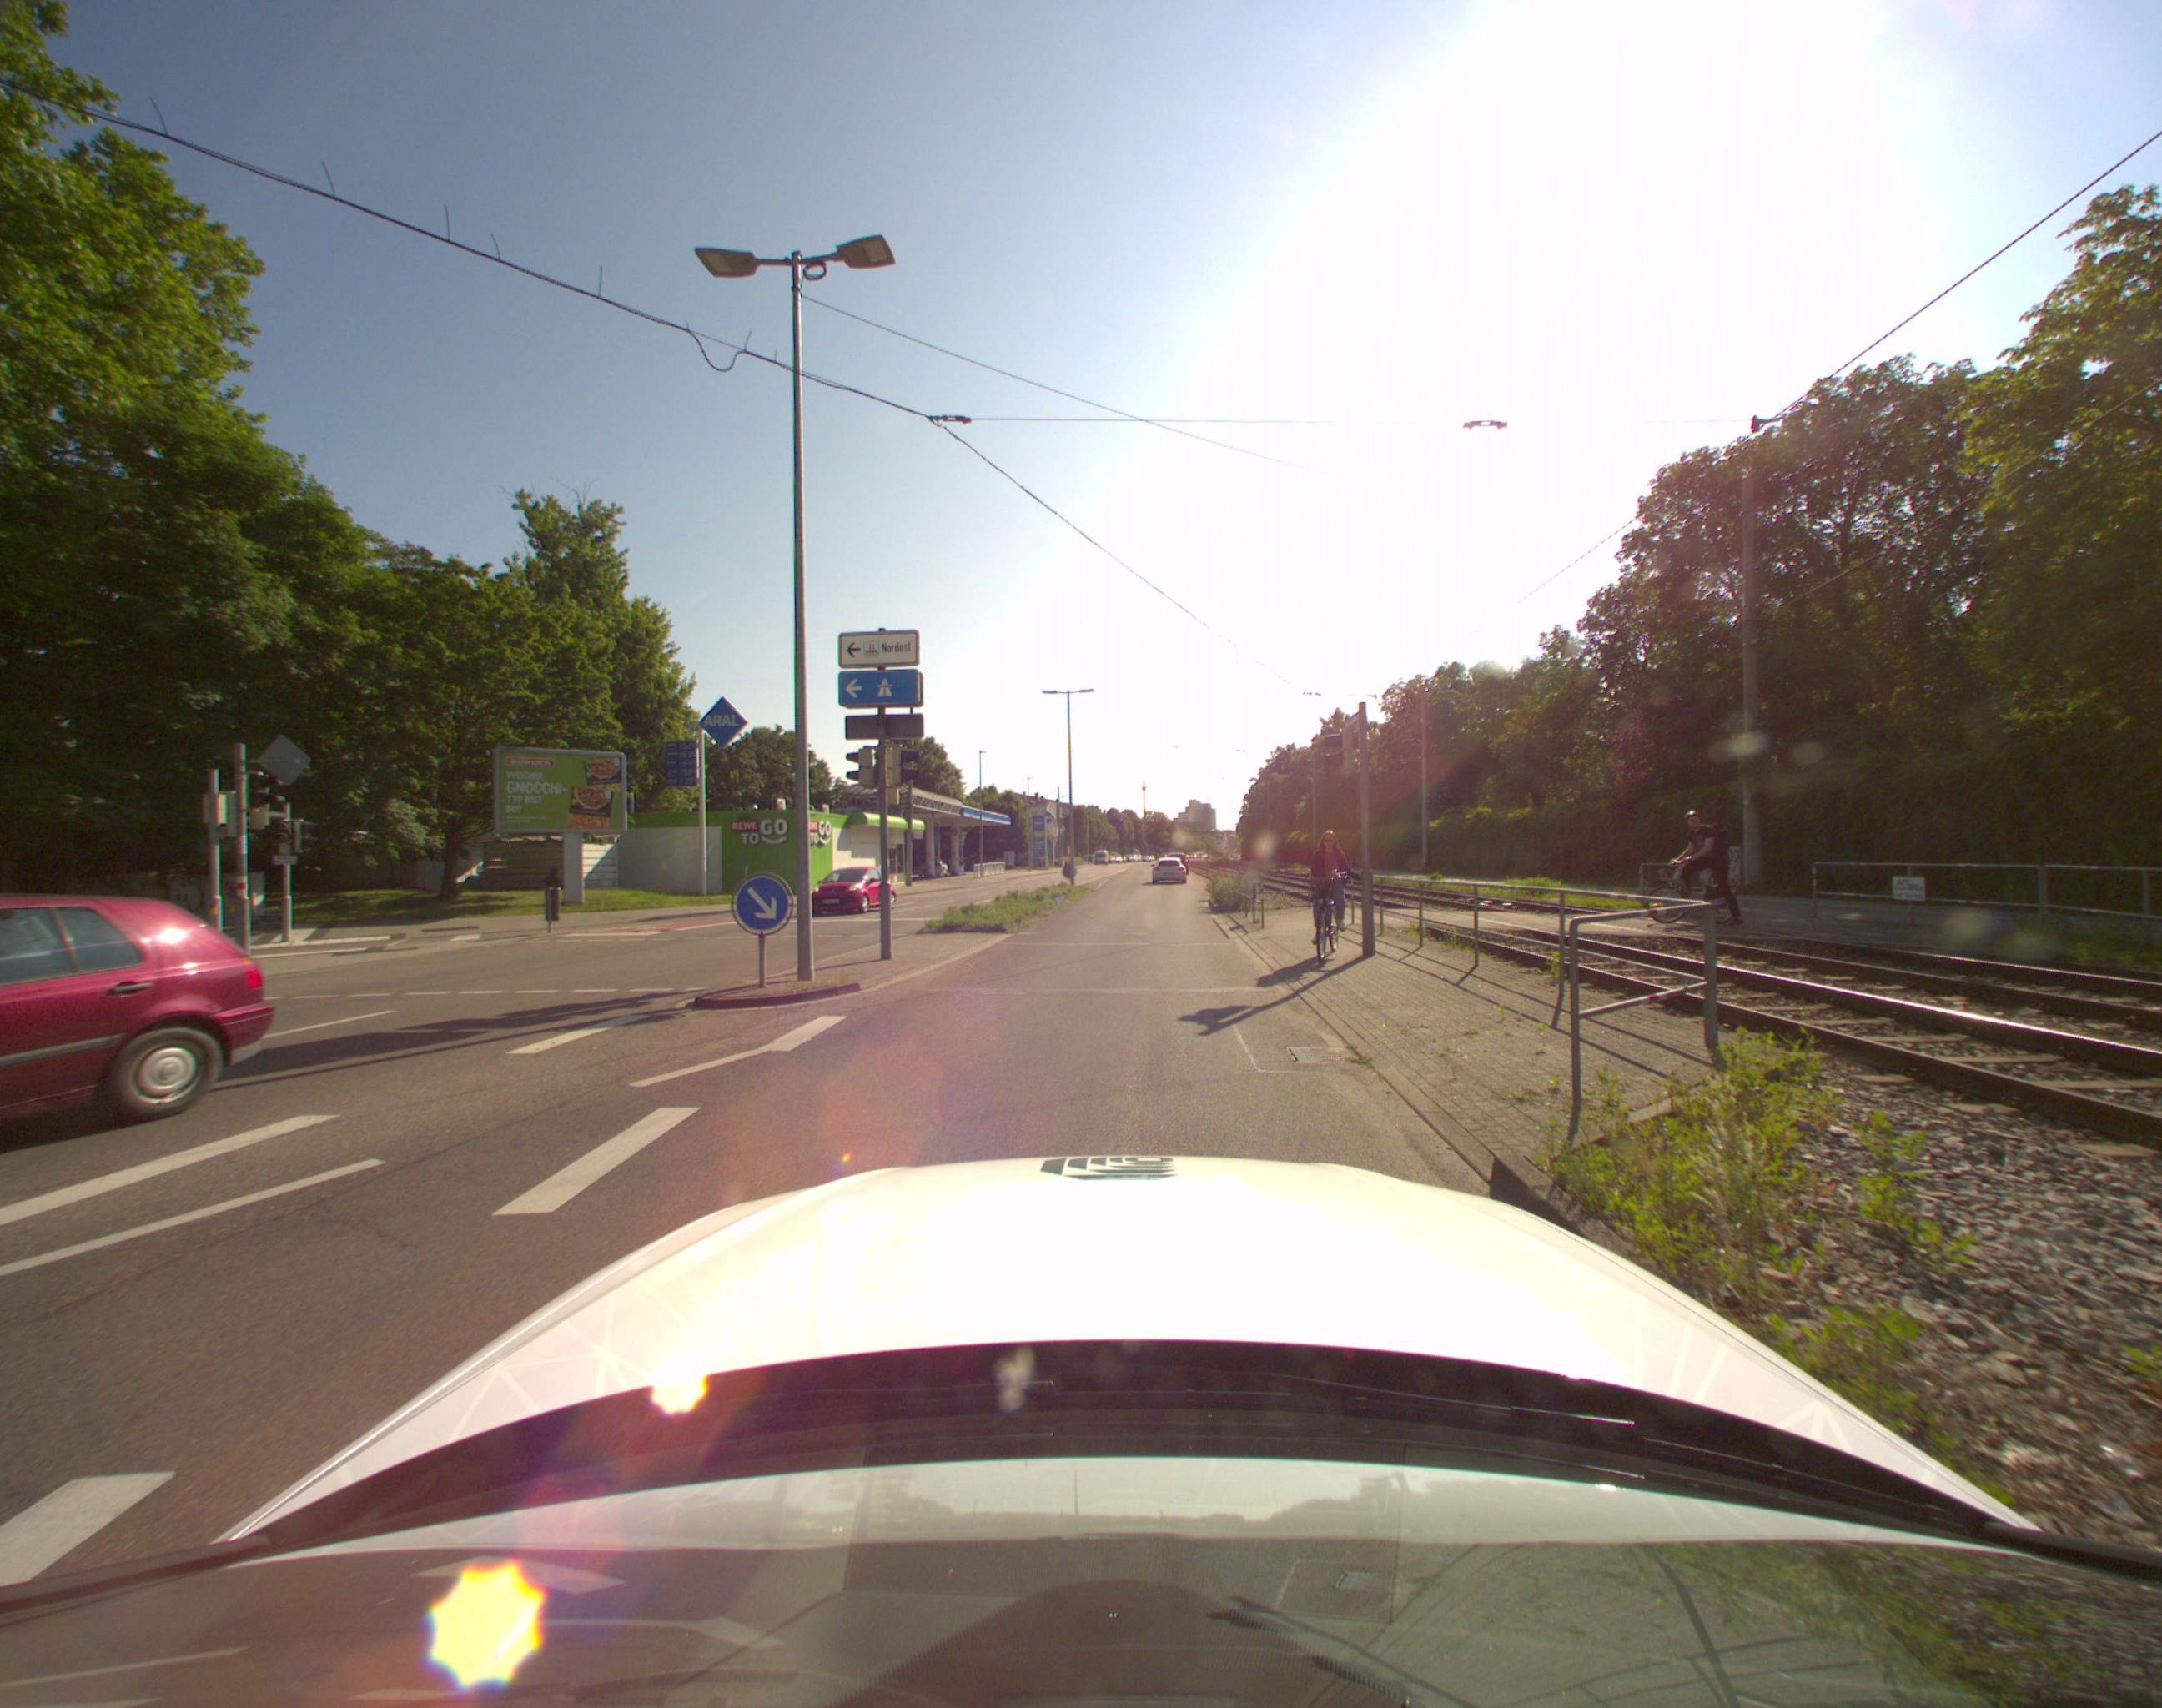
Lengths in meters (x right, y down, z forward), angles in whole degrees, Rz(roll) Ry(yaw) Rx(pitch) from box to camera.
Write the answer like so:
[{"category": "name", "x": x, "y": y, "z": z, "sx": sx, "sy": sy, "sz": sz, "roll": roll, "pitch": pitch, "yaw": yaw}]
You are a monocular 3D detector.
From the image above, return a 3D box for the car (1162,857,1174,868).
[{"category": "car", "x": 12.500, "y": 1.203, "z": 117.318, "sx": 1.740, "sy": 1.485, "sz": 3.606, "roll": 1, "pitch": 0, "yaw": 5}]

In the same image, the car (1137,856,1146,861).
[{"category": "car", "x": 15.834, "y": 1.153, "z": 211.805, "sx": 1.982, "sy": 1.416, "sz": 3.852, "roll": -2, "pitch": 0, "yaw": 8}]

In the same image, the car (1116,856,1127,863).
[{"category": "car", "x": 8.941, "y": 1.290, "z": 179.071, "sx": 1.982, "sy": 1.416, "sz": 3.852, "roll": -2, "pitch": 0, "yaw": 8}]

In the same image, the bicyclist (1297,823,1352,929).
[{"category": "bicyclist", "x": 3.463, "y": 0.297, "z": 11.538, "sx": 0.638, "sy": 1.416, "sz": 1.018, "roll": -1, "pitch": 0, "yaw": 21}]

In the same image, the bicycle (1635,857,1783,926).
[{"category": "bicycle", "x": 10.856, "y": 0.626, "z": 14.180, "sx": 1.902, "sy": 1.115, "sz": 0.953, "roll": -1, "pitch": 0, "yaw": 29}]

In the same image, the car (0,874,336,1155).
[{"category": "car", "x": -6.407, "y": 0.862, "z": 3.890, "sx": 1.645, "sy": 1.395, "sz": 4.140, "roll": -1, "pitch": 0, "yaw": 5}]

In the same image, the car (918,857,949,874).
[{"category": "car", "x": -13.298, "y": 1.000, "z": 73.723, "sx": 1.736, "sy": 1.393, "sz": 4.126, "roll": -2, "pitch": 0, "yaw": 4}]

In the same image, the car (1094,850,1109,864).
[{"category": "car", "x": 3.581, "y": 0.467, "z": 141.621, "sx": 1.982, "sy": 2.376, "sz": 4.549, "roll": -2, "pitch": 0, "yaw": 9}]

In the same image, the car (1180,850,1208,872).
[{"category": "car", "x": 8.596, "y": 0.528, "z": 62.082, "sx": 1.718, "sy": 1.593, "sz": 3.602, "roll": 1, "pitch": 0, "yaw": 1}]

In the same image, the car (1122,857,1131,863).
[{"category": "car", "x": 10.674, "y": 1.349, "z": 190.835, "sx": 1.982, "sy": 1.416, "sz": 3.852, "roll": -2, "pitch": 0, "yaw": 8}]

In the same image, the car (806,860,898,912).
[{"category": "car", "x": -6.932, "y": 0.941, "z": 24.990, "sx": 1.566, "sy": 1.417, "sz": 3.339, "roll": -1, "pitch": 0, "yaw": 6}]

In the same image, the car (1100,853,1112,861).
[{"category": "car", "x": 4.856, "y": 0.617, "z": 156.723, "sx": 1.982, "sy": 1.416, "sz": 3.852, "roll": -2, "pitch": 0, "yaw": 8}]

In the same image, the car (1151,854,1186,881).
[{"category": "car", "x": 4.721, "y": 0.713, "z": 44.094, "sx": 1.772, "sy": 1.356, "sz": 3.606, "roll": 1, "pitch": 0, "yaw": 5}]

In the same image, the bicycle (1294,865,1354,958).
[{"category": "bicycle", "x": 3.471, "y": 0.763, "z": 11.521, "sx": 0.638, "sy": 1.154, "sz": 1.947, "roll": -1, "pitch": 0, "yaw": 21}]

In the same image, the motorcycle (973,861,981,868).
[{"category": "motorcycle", "x": -13.706, "y": 1.400, "z": 107.083, "sx": 0.667, "sy": 0.901, "sz": 1.674, "roll": -2, "pitch": 0, "yaw": 6}]

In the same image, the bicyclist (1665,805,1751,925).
[{"category": "bicyclist", "x": 10.870, "y": 0.190, "z": 14.161, "sx": 1.023, "sy": 1.993, "sz": 0.953, "roll": -1, "pitch": 0, "yaw": 29}]
